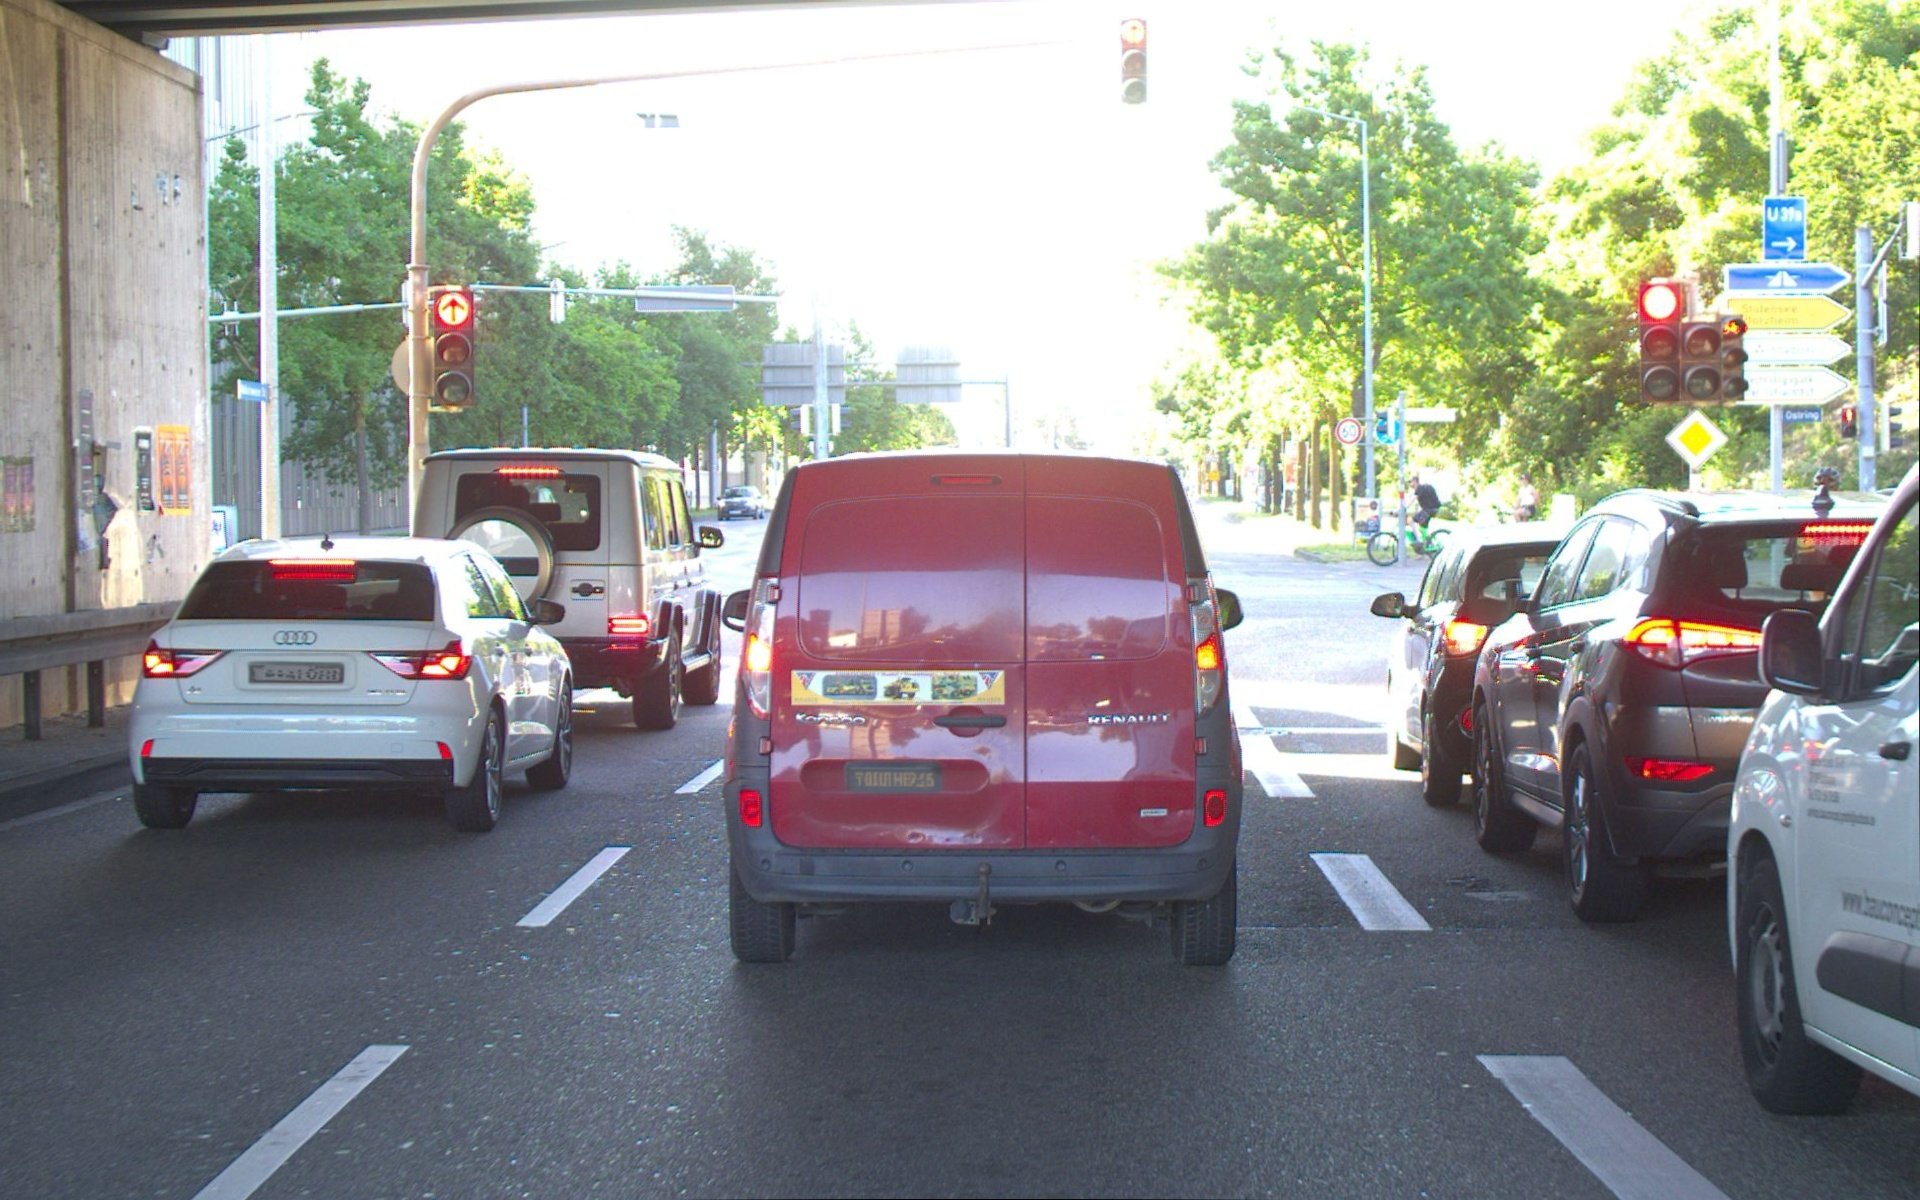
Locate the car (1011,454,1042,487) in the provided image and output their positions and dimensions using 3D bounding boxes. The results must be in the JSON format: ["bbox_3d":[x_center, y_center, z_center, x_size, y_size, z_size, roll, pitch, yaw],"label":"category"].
[{"bbox_3d":[4.393,-8.539,227.042,1.993,2.007,4.000,1,1,2],"label":"car"}]

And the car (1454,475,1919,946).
[{"bbox_3d":[3.225,0.351,14.165,1.778,1.650,3.990,1,1,0],"label":"car"}]

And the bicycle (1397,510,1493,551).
[{"bbox_3d":[10.155,-1.451,71.983,1.913,0.864,0.605,0,1,-2],"label":"bicycle"}]

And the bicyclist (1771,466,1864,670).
[{"bbox_3d":[6.925,-0.261,27.781,0.678,1.623,0.643,1,0,12],"label":"bicyclist"}]

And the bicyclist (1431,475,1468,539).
[{"bbox_3d":[10.256,-1.952,72.005,0.652,1.325,0.603,1,0,-1],"label":"bicyclist"}]

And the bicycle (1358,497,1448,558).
[{"bbox_3d":[8.983,-1.473,69.741,1.729,1.229,0.558,0,0,-4],"label":"bicycle"}]

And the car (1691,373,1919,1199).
[{"bbox_3d":[2.941,0.442,7.262,1.813,1.827,4.300,1,1,-1],"label":"car"}]

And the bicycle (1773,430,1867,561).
[{"bbox_3d":[6.934,-0.830,27.758,0.677,1.020,1.528,1,1,12],"label":"bicycle"}]

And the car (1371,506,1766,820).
[{"bbox_3d":[3.331,0.267,19.470,1.652,1.546,3.864,1,2,2],"label":"car"}]

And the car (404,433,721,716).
[{"bbox_3d":[-2.831,-0.212,25.224,1.813,1.897,3.813,1,1,1],"label":"car"}]

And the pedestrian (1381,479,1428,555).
[{"bbox_3d":[9.014,-1.681,69.739,0.836,1.549,0.557,0,1,-5],"label":"pedestrian"}]

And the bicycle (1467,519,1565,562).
[{"bbox_3d":[11.366,-1.225,70.314,1.953,0.871,0.699,0,1,6],"label":"bicycle"}]

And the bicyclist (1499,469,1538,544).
[{"bbox_3d":[11.419,-1.905,70.298,0.755,1.537,0.696,0,1,6],"label":"bicyclist"}]

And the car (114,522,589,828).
[{"bbox_3d":[-3.037,0.310,17.885,1.692,1.405,3.813,1,1,1],"label":"car"}]

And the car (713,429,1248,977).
[{"bbox_3d":[0.122,0.294,13.171,1.719,1.758,4.000,1,1,2],"label":"car"}]
